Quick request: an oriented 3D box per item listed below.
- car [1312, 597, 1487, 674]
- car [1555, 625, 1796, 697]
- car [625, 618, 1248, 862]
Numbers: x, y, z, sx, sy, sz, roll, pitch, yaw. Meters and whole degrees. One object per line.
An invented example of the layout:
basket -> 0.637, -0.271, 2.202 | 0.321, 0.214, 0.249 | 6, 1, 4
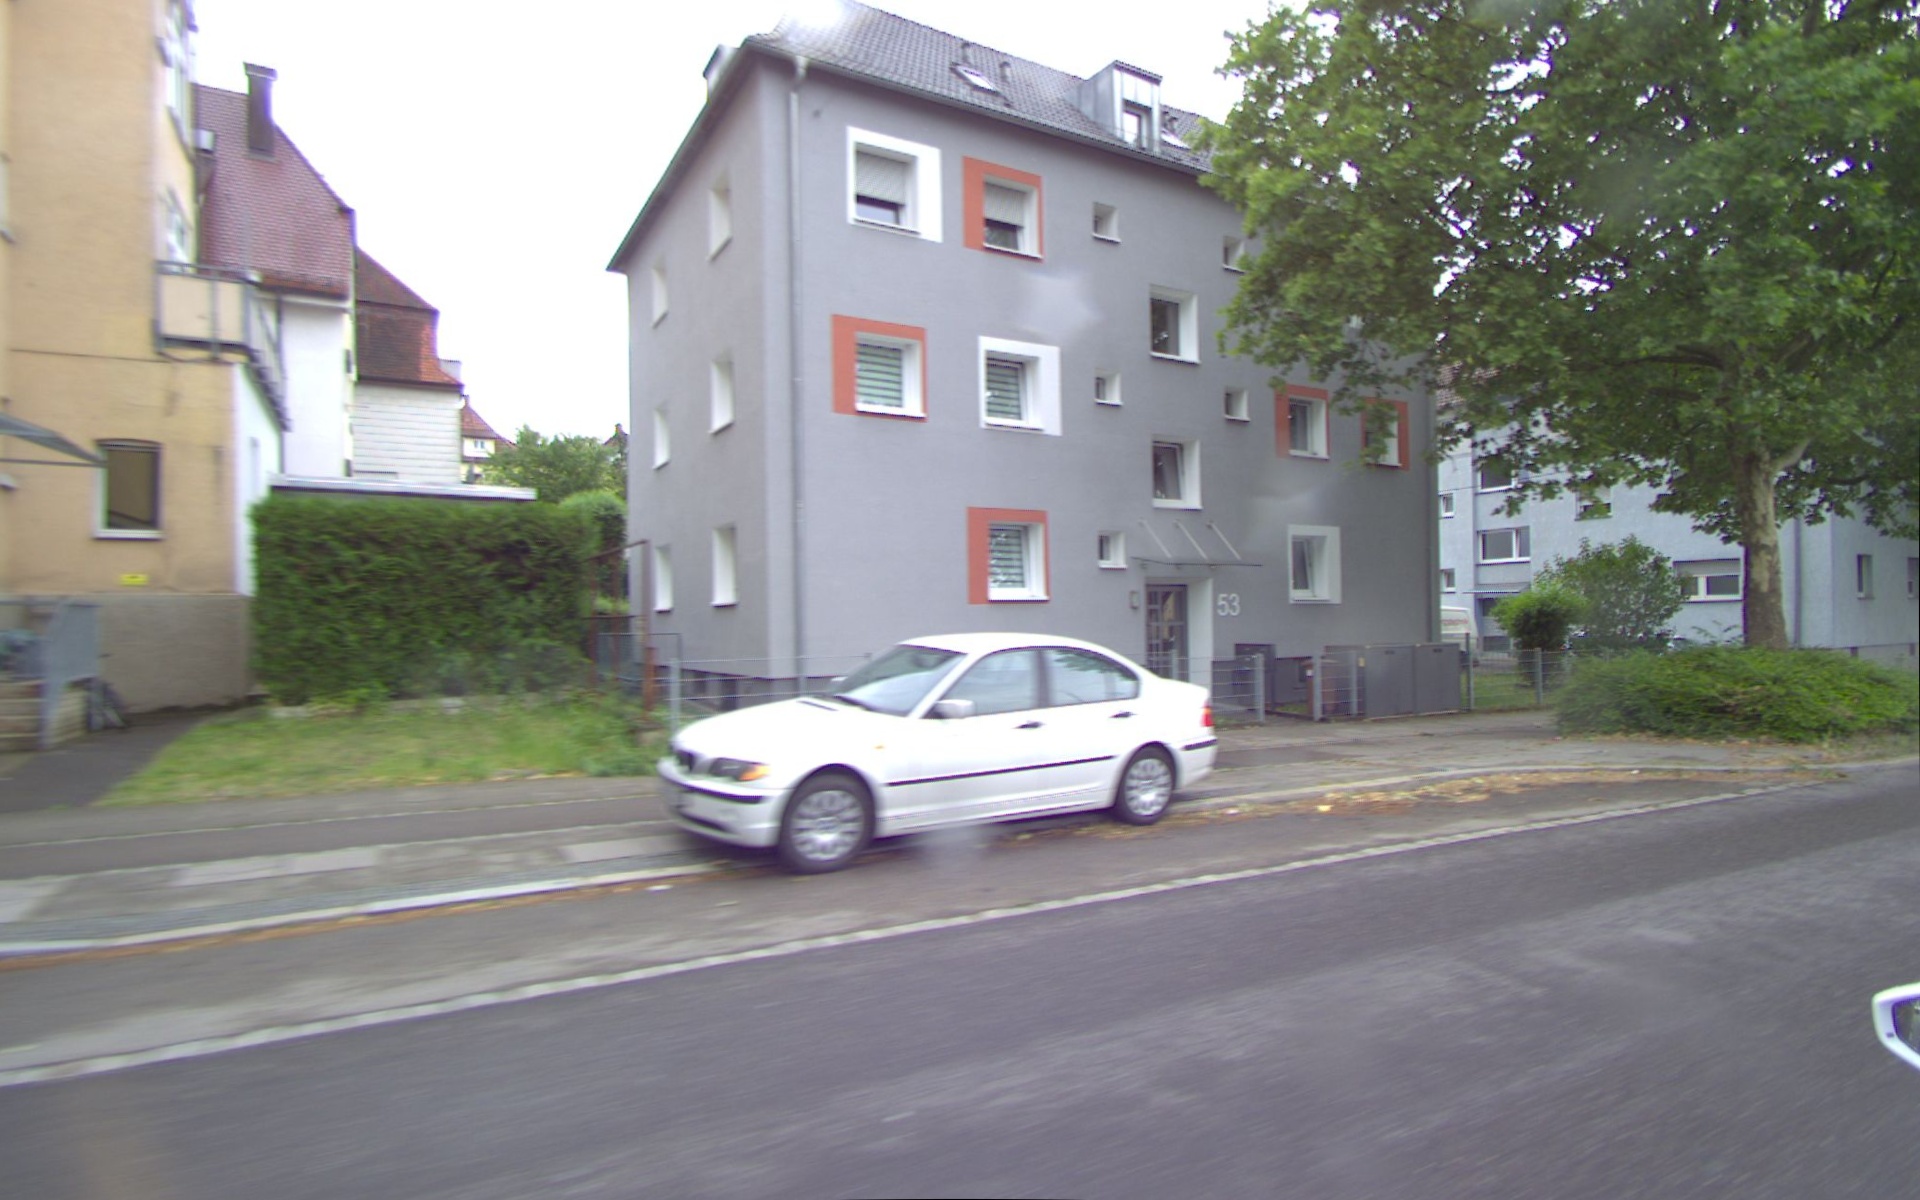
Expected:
car -> 12.037, 0.984, 27.479 | 4.492, 1.945, 1.879 | 2, 0, -26
car -> 18.009, 1.480, 25.544 | 1.848, 1.496, 4.640 | 2, 0, -30
car -> -0.014, 0.849, 7.606 | 4.491, 1.344, 1.745 | 2, -1, -34
